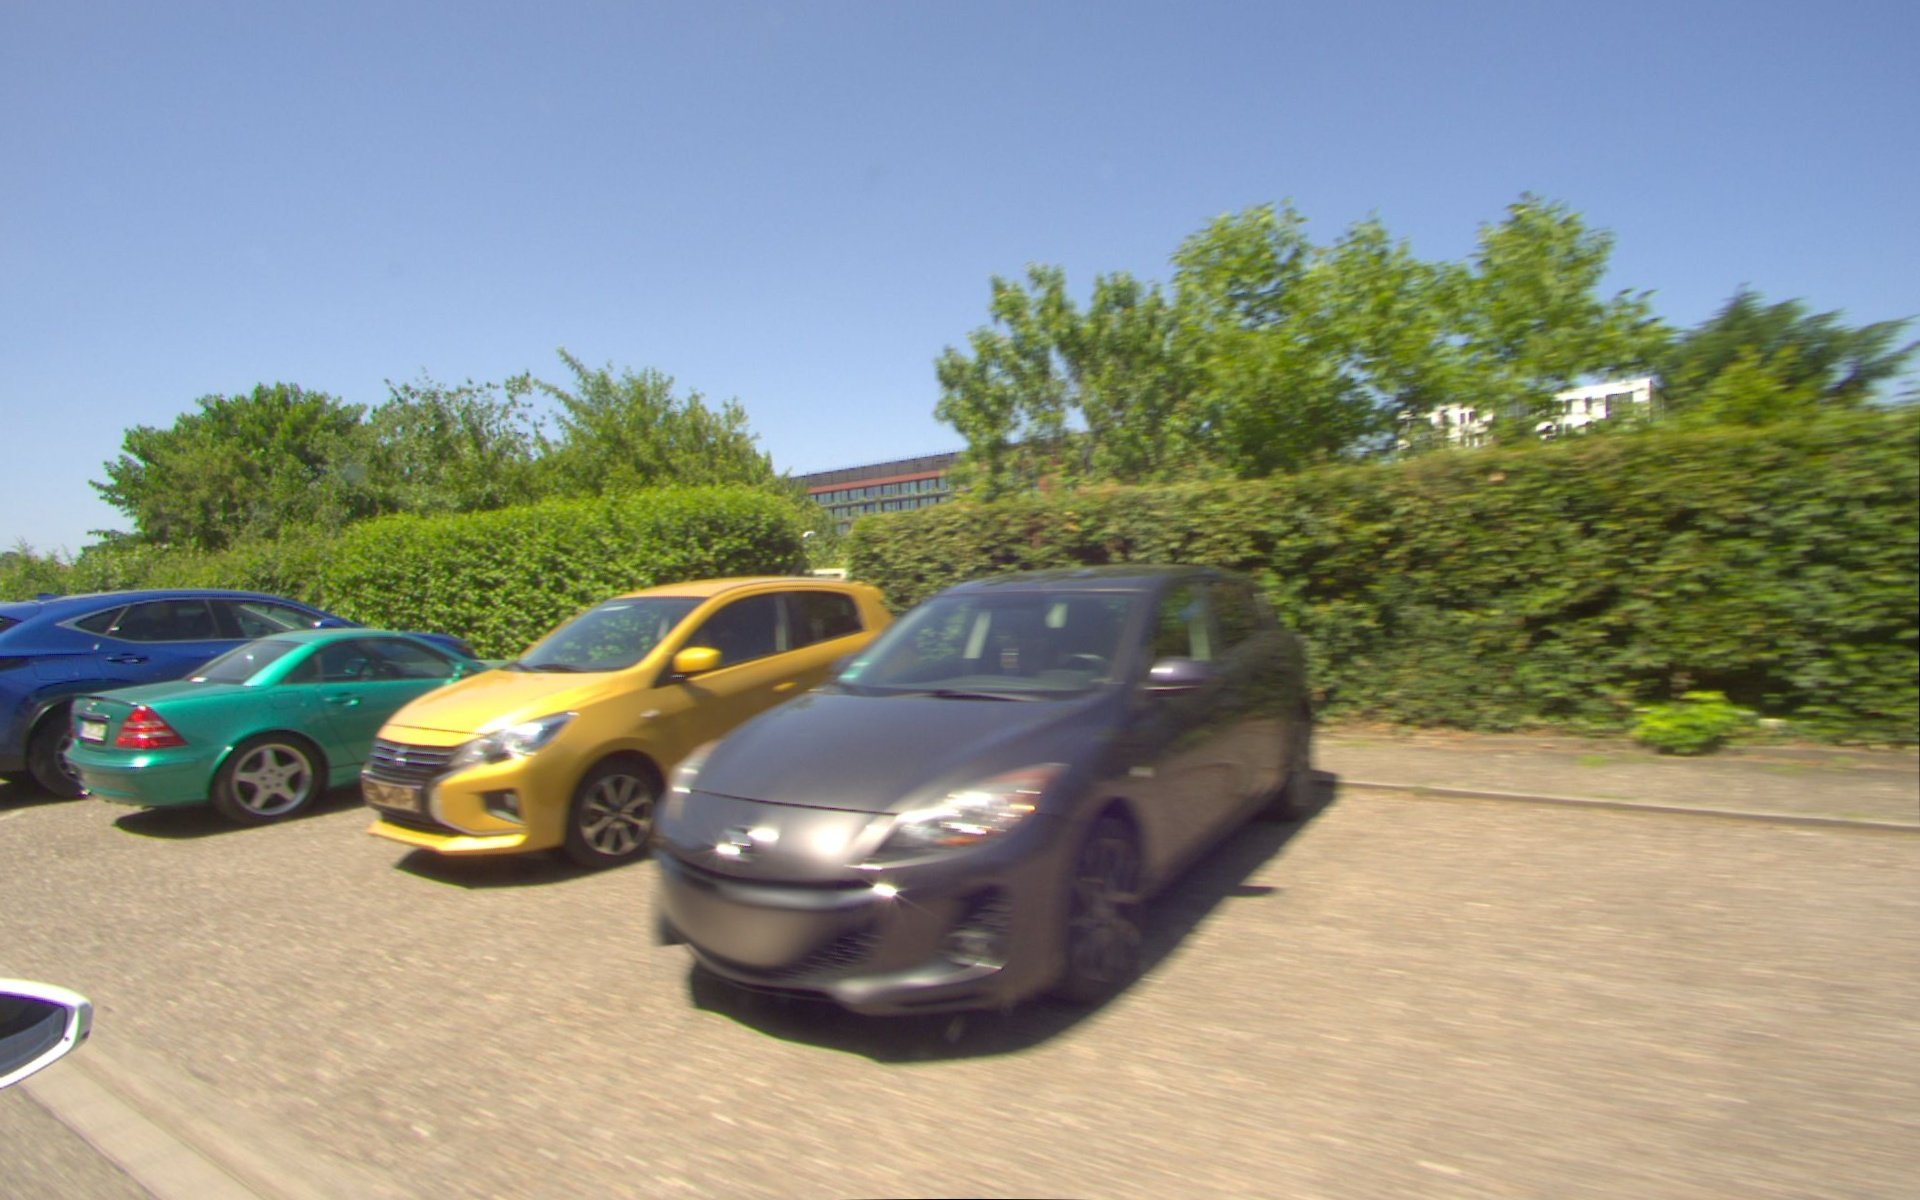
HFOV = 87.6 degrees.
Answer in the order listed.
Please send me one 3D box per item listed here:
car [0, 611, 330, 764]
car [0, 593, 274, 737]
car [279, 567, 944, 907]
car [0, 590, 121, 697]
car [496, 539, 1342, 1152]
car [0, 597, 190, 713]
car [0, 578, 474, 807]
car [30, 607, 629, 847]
[{"bbox_3d":[-9.651,0.884,11.158,1.785,1.458,4.129,-1,0,26],"label":"car"},{"bbox_3d":[-11.724,0.789,13.003,1.873,1.676,4.226,-1,0,32],"label":"car"},{"bbox_3d":[-1.951,0.605,6.619,1.751,1.475,3.788,-2,2,35],"label":"car"},{"bbox_3d":[-17.263,0.833,16.836,1.850,1.721,4.392,-2,3,32],"label":"car"},{"bbox_3d":[0.333,0.540,4.707,1.857,1.516,4.151,-2,2,33],"label":"car"},{"bbox_3d":[-14.838,0.856,15.582,1.861,1.679,4.112,-1,1,34],"label":"car"},{"bbox_3d":[-7.150,0.696,9.463,1.797,1.656,4.226,-1,2,33],"label":"car"},{"bbox_3d":[-4.773,0.811,8.096,1.606,1.285,3.722,-2,2,35],"label":"car"}]
